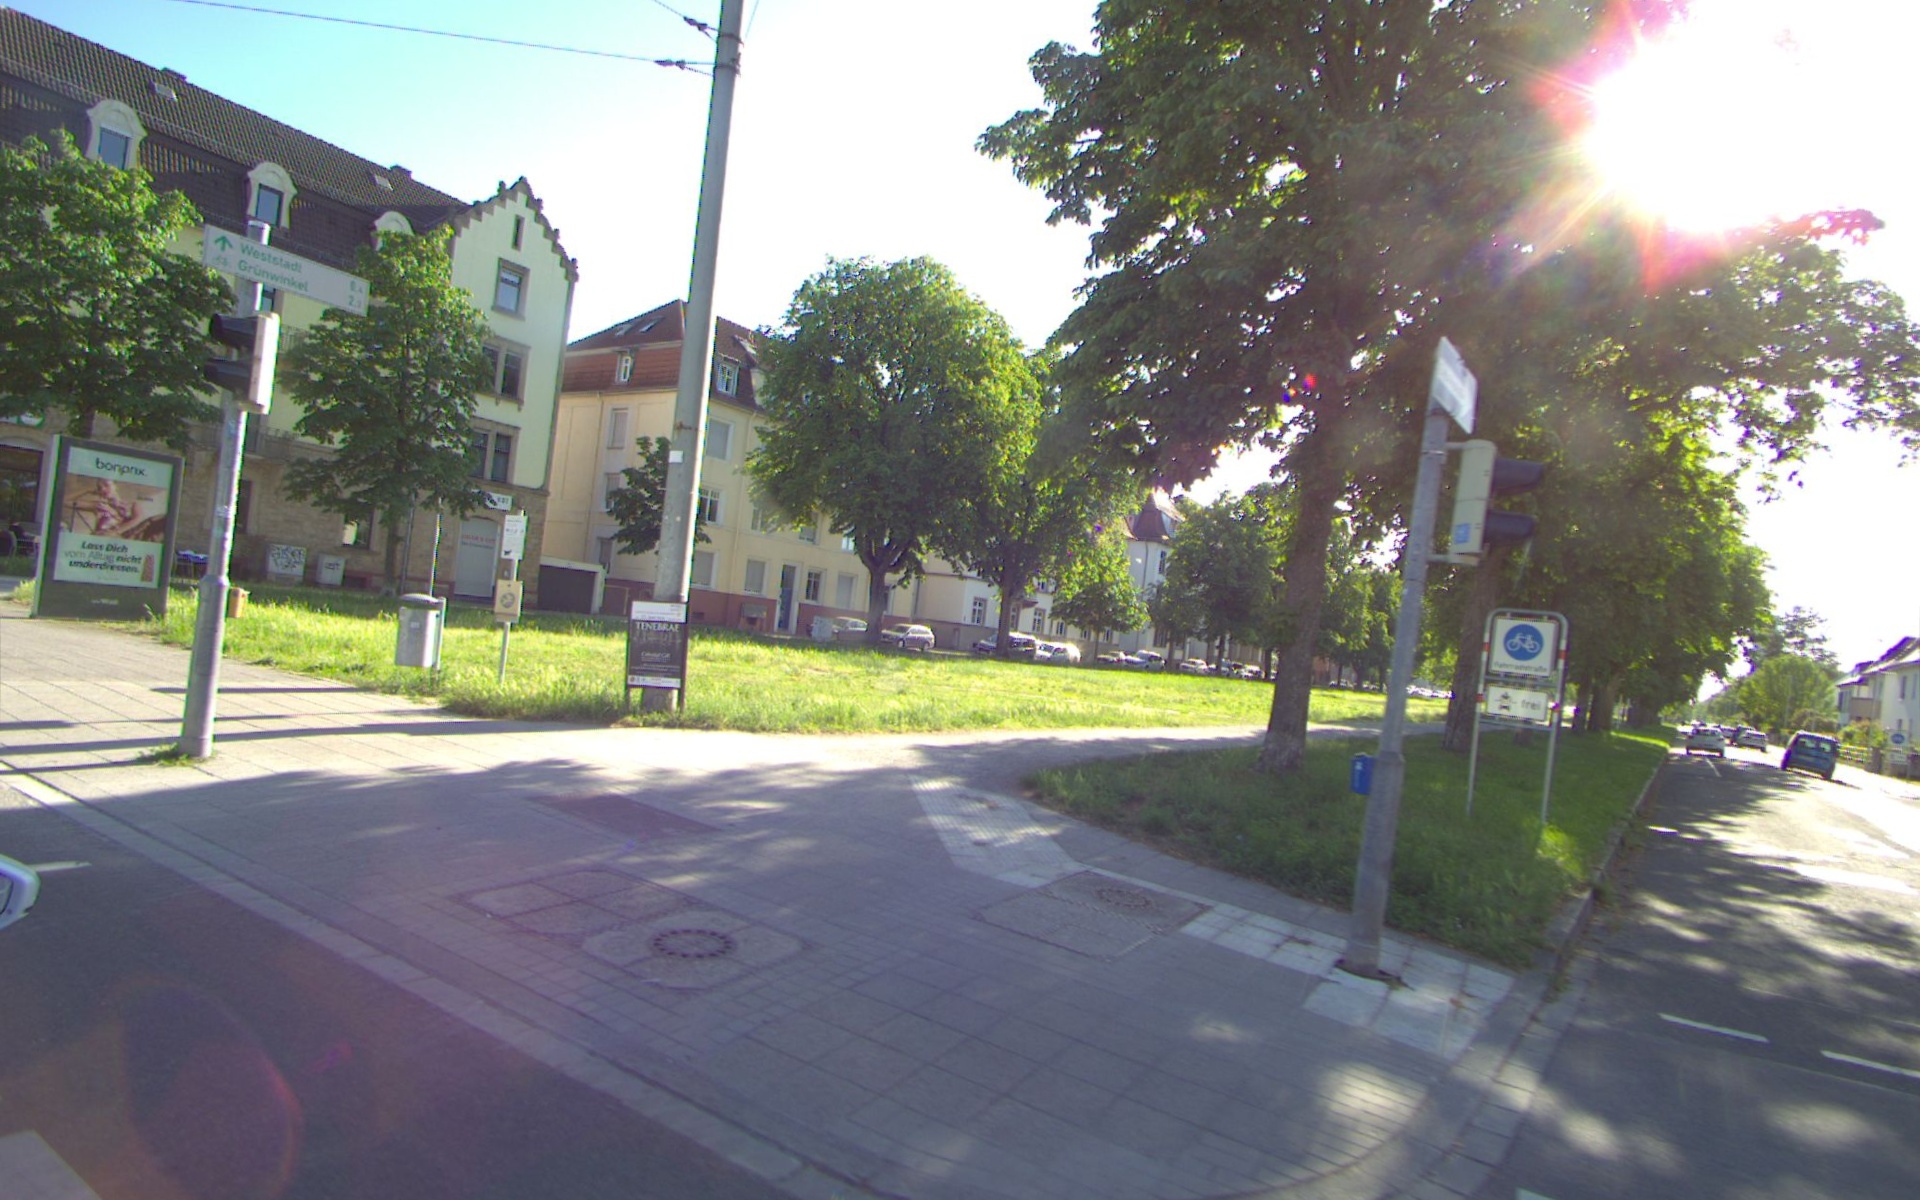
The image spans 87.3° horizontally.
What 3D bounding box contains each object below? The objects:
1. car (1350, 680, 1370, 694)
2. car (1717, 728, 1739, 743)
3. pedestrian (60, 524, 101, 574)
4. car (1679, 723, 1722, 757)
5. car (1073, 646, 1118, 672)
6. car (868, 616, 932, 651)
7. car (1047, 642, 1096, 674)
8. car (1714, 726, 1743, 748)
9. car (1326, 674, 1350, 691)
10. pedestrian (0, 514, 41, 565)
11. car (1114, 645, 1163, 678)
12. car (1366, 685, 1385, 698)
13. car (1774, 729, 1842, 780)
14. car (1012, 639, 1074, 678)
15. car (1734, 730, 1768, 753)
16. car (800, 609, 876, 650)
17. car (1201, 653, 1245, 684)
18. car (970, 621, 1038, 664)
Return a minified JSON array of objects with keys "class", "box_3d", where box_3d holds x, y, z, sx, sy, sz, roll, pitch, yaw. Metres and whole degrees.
[{"class":"car","box_3d":[57.872,12.582,145.548,1.708,1.621,3.698,7,-3,37]},{"class":"car","box_3d":[91.871,16.140,120.344,1.797,1.450,3.989,6,-2,36]},{"class":"pedestrian","box_3d":[-27.040,-1.568,30.930,0.690,1.375,0.639,7,-2,35]},{"class":"car","box_3d":[38.456,7.266,52.202,1.649,1.448,3.885,4,-5,38]},{"class":"car","box_3d":[10.864,4.738,80.541,1.710,1.621,3.695,6,-3,39]},{"class":"car","box_3d":[-3.511,2.022,59.687,1.708,1.529,3.699,7,-3,36]},{"class":"car","box_3d":[8.477,4.387,76.350,1.898,1.902,3.699,7,-3,36]},{"class":"car","box_3d":[68.867,12.234,90.170,1.797,1.623,3.989,6,-2,36]},{"class":"car","box_3d":[43.622,9.523,116.088,1.624,1.535,3.398,7,-3,36]},{"class":"pedestrian","box_3d":[-27.743,-1.778,29.691,0.690,1.375,0.639,7,-2,35]},{"class":"car","box_3d":[13.077,4.485,73.614,1.898,1.902,3.699,7,-3,36]},{"class":"car","box_3d":[64.080,14.140,155.113,1.708,1.621,3.698,7,-3,37]},{"class":"car","box_3d":[36.522,6.672,43.404,1.789,1.844,3.993,4,-5,36]},{"class":"car","box_3d":[5.189,3.648,62.582,1.898,1.902,4.060,7,-3,36]},{"class":"car","box_3d":[62.287,11.158,79.299,1.797,1.450,3.989,6,-2,36]},{"class":"car","box_3d":[-6.686,1.652,55.368,1.800,1.623,3.844,9,-2,37]},{"class":"car","box_3d":[22.890,5.960,87.335,1.898,2.053,4.652,7,-3,37]},{"class":"car","box_3d":[2.567,2.475,57.968,1.900,1.902,3.695,6,-3,39]}]
